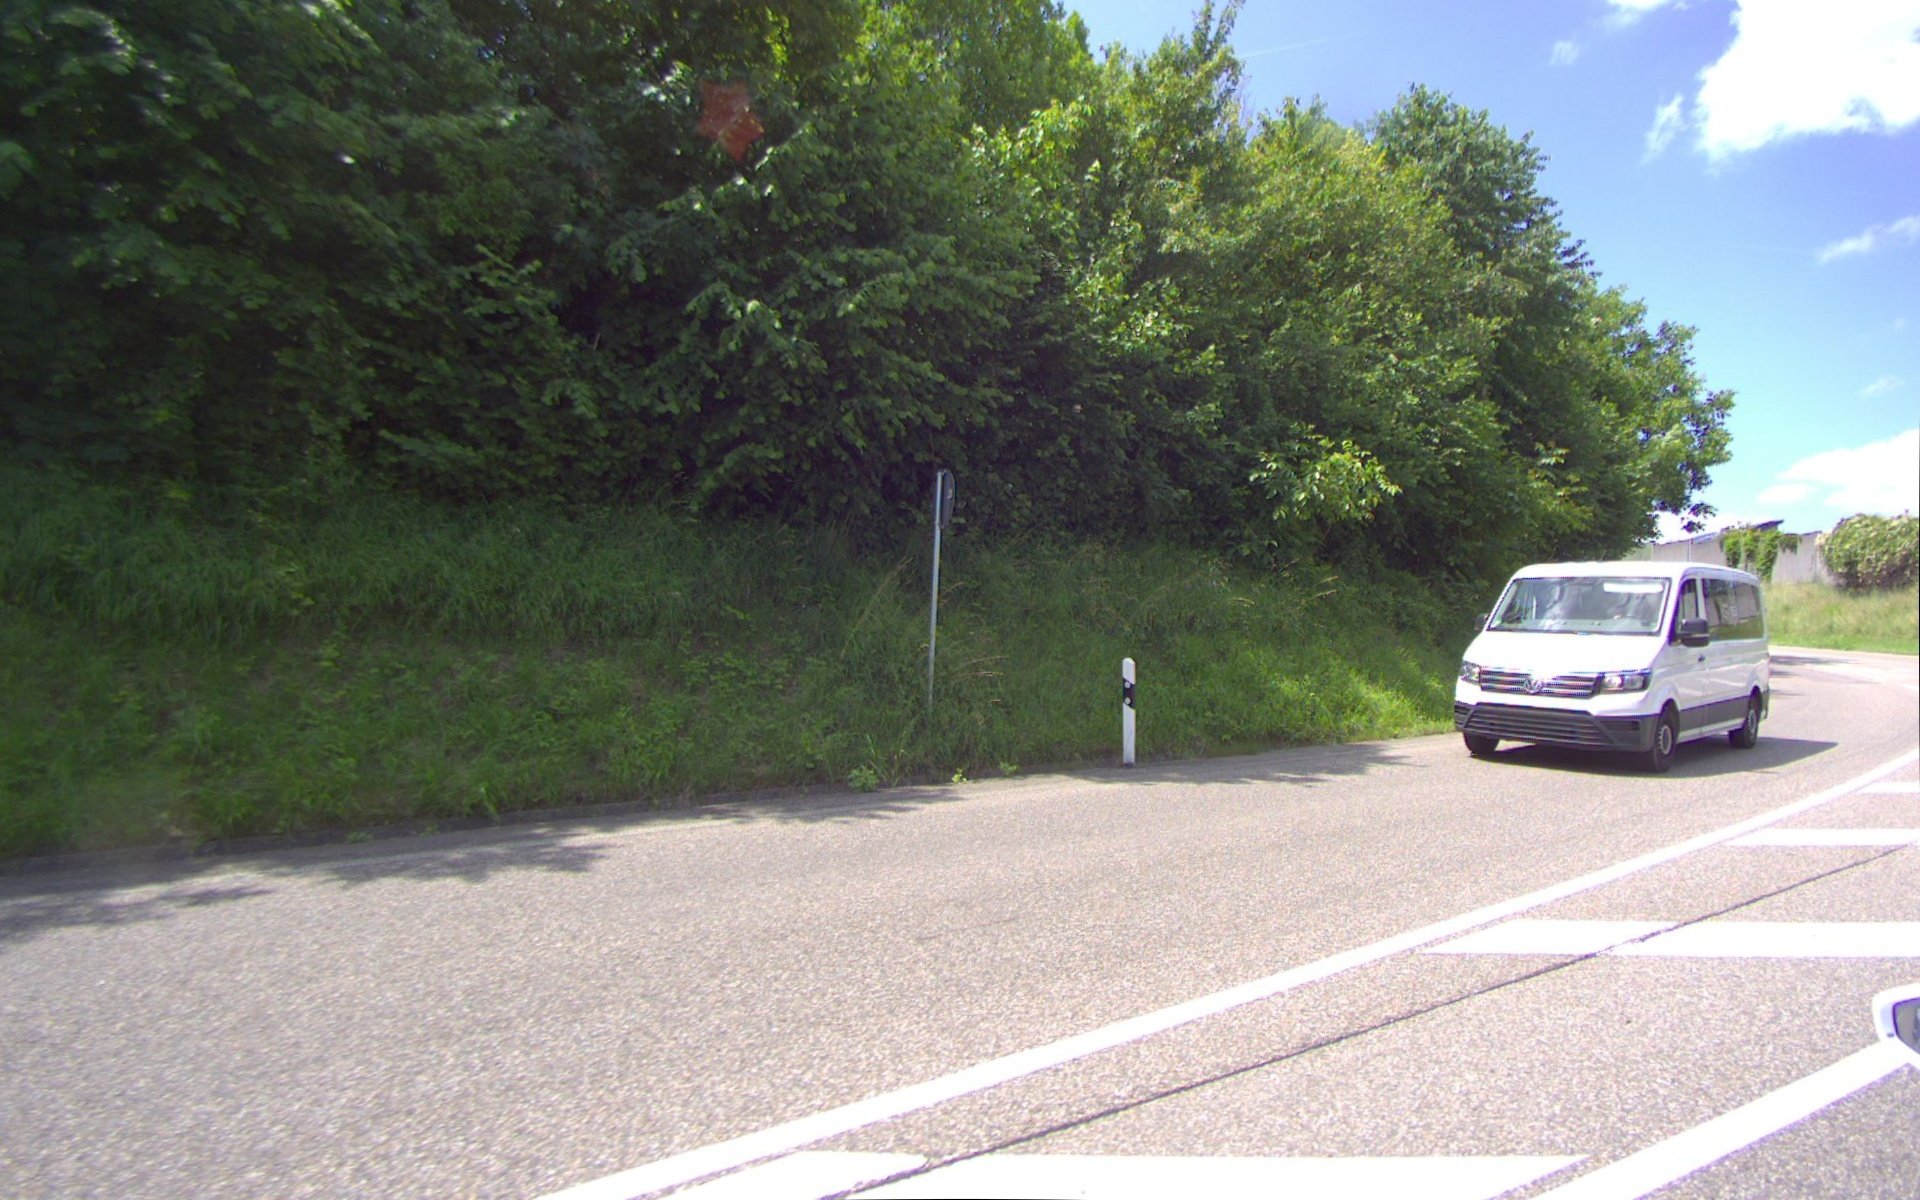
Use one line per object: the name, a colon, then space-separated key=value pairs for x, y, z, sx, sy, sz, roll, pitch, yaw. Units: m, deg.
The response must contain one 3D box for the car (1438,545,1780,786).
car: x=8.241 y=0.752 z=12.456 sx=5.901 sy=2.320 sz=2.067 roll=3 pitch=-3 yaw=-42
